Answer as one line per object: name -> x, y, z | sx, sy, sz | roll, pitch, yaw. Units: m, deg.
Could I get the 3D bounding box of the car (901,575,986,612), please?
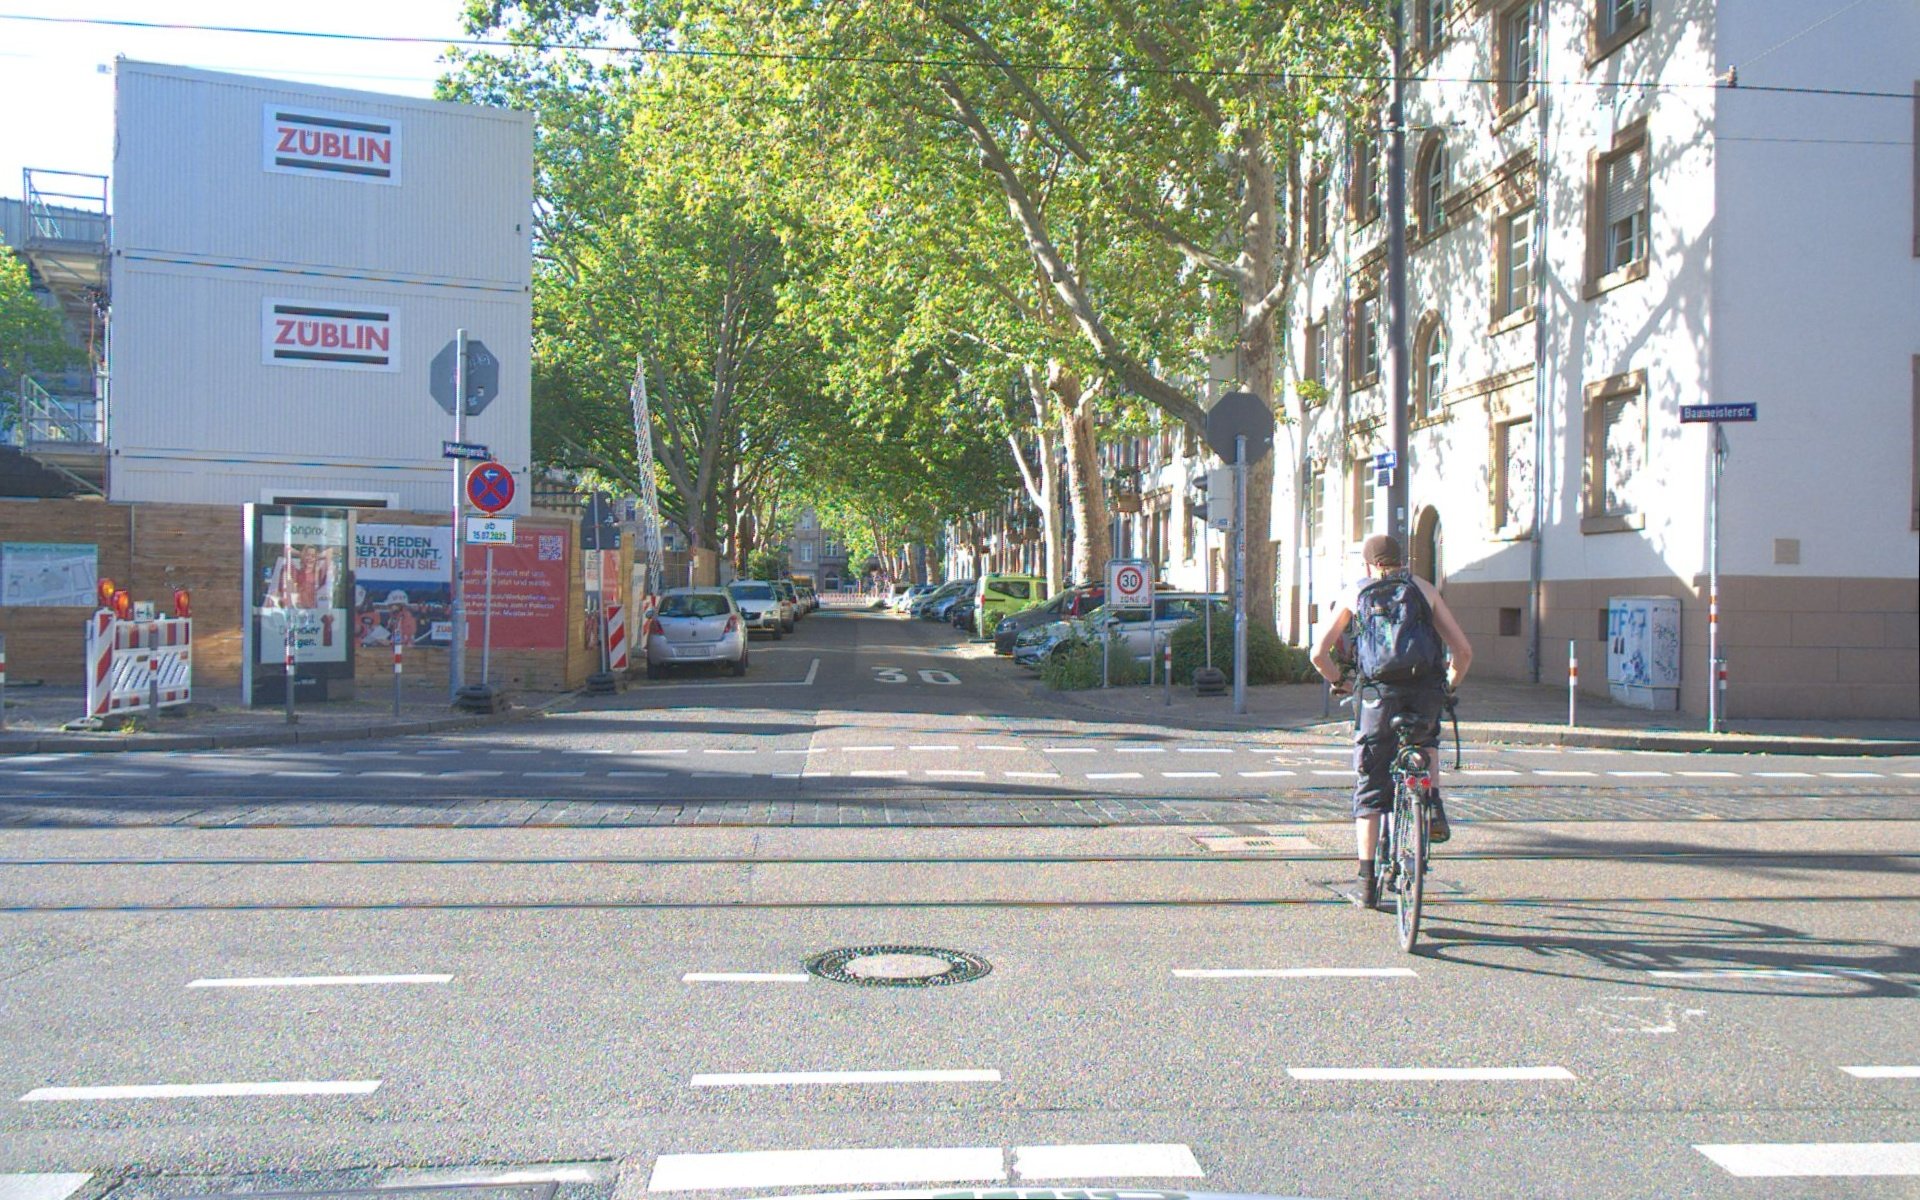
car -> -0.895, -0.349, 88.141 | 4.375, 1.931, 1.726 | 0, 0, -6

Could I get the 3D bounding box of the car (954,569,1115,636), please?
car -> 2.094, 0.063, 47.203 | 4.375, 1.868, 1.726 | 0, 0, -6

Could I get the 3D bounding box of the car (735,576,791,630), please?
car -> -6.058, 0.066, 51.219 | 1.633, 1.590, 4.513 | 0, 1, -6

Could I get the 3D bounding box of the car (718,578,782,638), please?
car -> -5.747, 0.192, 45.524 | 1.633, 1.590, 3.995 | 0, 1, -6

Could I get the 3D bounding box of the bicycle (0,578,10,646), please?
bicycle -> -18.971, 0.234, 30.945 | 2.033, 1.279, 0.464 | 0, 1, -43

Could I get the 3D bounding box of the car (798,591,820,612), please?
car -> -11.715, 0.084, 128.412 | 1.633, 1.590, 4.214 | 0, 1, -6

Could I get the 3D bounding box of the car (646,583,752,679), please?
car -> -4.581, 0.491, 29.449 | 1.612, 1.520, 3.995 | -2, 1, -6

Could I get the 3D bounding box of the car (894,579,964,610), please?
car -> -1.996, -0.328, 105.471 | 4.375, 1.931, 1.726 | 0, 0, -6

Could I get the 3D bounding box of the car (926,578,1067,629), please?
car -> 1.135, 0.102, 53.096 | 4.375, 1.598, 1.726 | 0, 0, -6

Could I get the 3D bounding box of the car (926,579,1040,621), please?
car -> 0.894, -0.007, 65.711 | 4.375, 1.598, 1.726 | 0, 0, -6

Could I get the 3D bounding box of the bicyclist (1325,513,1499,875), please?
bicyclist -> 2.029, 0.401, 7.504 | 0.662, 1.539, 0.669 | 2, 0, 10

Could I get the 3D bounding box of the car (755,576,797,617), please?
car -> -7.525, -0.164, 67.803 | 1.633, 1.590, 4.610 | 0, 1, -6

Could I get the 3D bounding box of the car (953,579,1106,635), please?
car -> 2.036, 0.205, 49.220 | 4.375, 1.598, 1.726 | 0, 0, -6

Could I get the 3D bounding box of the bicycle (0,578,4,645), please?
bicycle -> -19.304, 0.228, 31.325 | 2.033, 1.279, 0.464 | 0, 1, -43

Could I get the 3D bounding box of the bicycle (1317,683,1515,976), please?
bicycle -> 2.016, 0.955, 7.533 | 0.675, 1.034, 1.909 | 2, 0, 10

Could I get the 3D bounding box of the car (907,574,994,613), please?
car -> -0.494, -0.331, 85.296 | 4.375, 1.931, 1.726 | 0, 0, -6

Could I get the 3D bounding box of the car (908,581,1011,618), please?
car -> -0.046, -0.034, 72.896 | 4.375, 1.598, 1.726 | 0, 0, -6

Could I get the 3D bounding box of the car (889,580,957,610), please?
car -> -2.457, -0.308, 108.488 | 4.375, 1.931, 1.726 | 0, 0, -6

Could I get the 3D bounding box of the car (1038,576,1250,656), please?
car -> 3.992, 0.344, 36.272 | 4.375, 1.700, 1.726 | 0, 0, -6

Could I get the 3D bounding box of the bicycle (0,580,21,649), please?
bicycle -> -18.338, 0.268, 30.214 | 2.033, 1.279, 0.464 | 0, 1, -43

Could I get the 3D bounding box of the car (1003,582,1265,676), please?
car -> 3.028, 0.492, 29.264 | 4.375, 1.598, 1.726 | 0, 0, -6

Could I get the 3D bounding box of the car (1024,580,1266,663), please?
car -> 3.506, 0.397, 31.765 | 4.375, 1.526, 1.726 | 0, 0, -6

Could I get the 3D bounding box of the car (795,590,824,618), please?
car -> -9.007, 0.203, 98.851 | 1.633, 1.590, 4.214 | 0, 1, -6

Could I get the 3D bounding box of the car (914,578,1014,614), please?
car -> 0.158, -0.170, 75.237 | 4.375, 1.598, 1.726 | 0, 0, -6

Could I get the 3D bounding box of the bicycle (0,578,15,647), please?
bicycle -> -18.661, 0.241, 30.557 | 2.033, 1.279, 0.464 | 0, 1, -43

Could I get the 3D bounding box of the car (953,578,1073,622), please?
car -> 1.978, 0.001, 62.587 | 4.375, 1.598, 1.726 | 0, 0, -6

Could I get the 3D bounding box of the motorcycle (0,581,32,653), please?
motorcycle -> -17.728, 0.299, 29.315 | 2.193, 1.279, 0.535 | -1, 1, -43

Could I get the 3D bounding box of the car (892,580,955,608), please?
car -> -2.596, -0.405, 117.628 | 4.375, 1.931, 1.726 | 0, 0, -6

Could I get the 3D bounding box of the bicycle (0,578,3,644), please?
bicycle -> -19.601, 0.223, 31.786 | 2.033, 1.279, 0.535 | 0, 1, -43

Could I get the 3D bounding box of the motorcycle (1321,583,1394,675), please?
motorcycle -> 6.070, 0.424, 25.344 | 0.504, 1.356, 1.761 | 0, 1, -6

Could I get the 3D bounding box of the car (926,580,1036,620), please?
car -> 0.841, -0.009, 68.188 | 4.375, 1.598, 1.726 | 0, 0, -6

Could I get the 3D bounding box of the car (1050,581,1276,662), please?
car -> 4.153, 0.427, 34.193 | 4.375, 1.598, 1.726 | 0, 0, -6

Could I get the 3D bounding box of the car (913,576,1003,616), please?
car -> -0.115, -0.213, 82.552 | 4.375, 1.931, 1.726 | 0, 0, -6

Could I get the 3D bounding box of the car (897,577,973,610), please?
car -> -1.497, -0.398, 98.062 | 4.375, 1.931, 1.726 | 0, 0, -6
